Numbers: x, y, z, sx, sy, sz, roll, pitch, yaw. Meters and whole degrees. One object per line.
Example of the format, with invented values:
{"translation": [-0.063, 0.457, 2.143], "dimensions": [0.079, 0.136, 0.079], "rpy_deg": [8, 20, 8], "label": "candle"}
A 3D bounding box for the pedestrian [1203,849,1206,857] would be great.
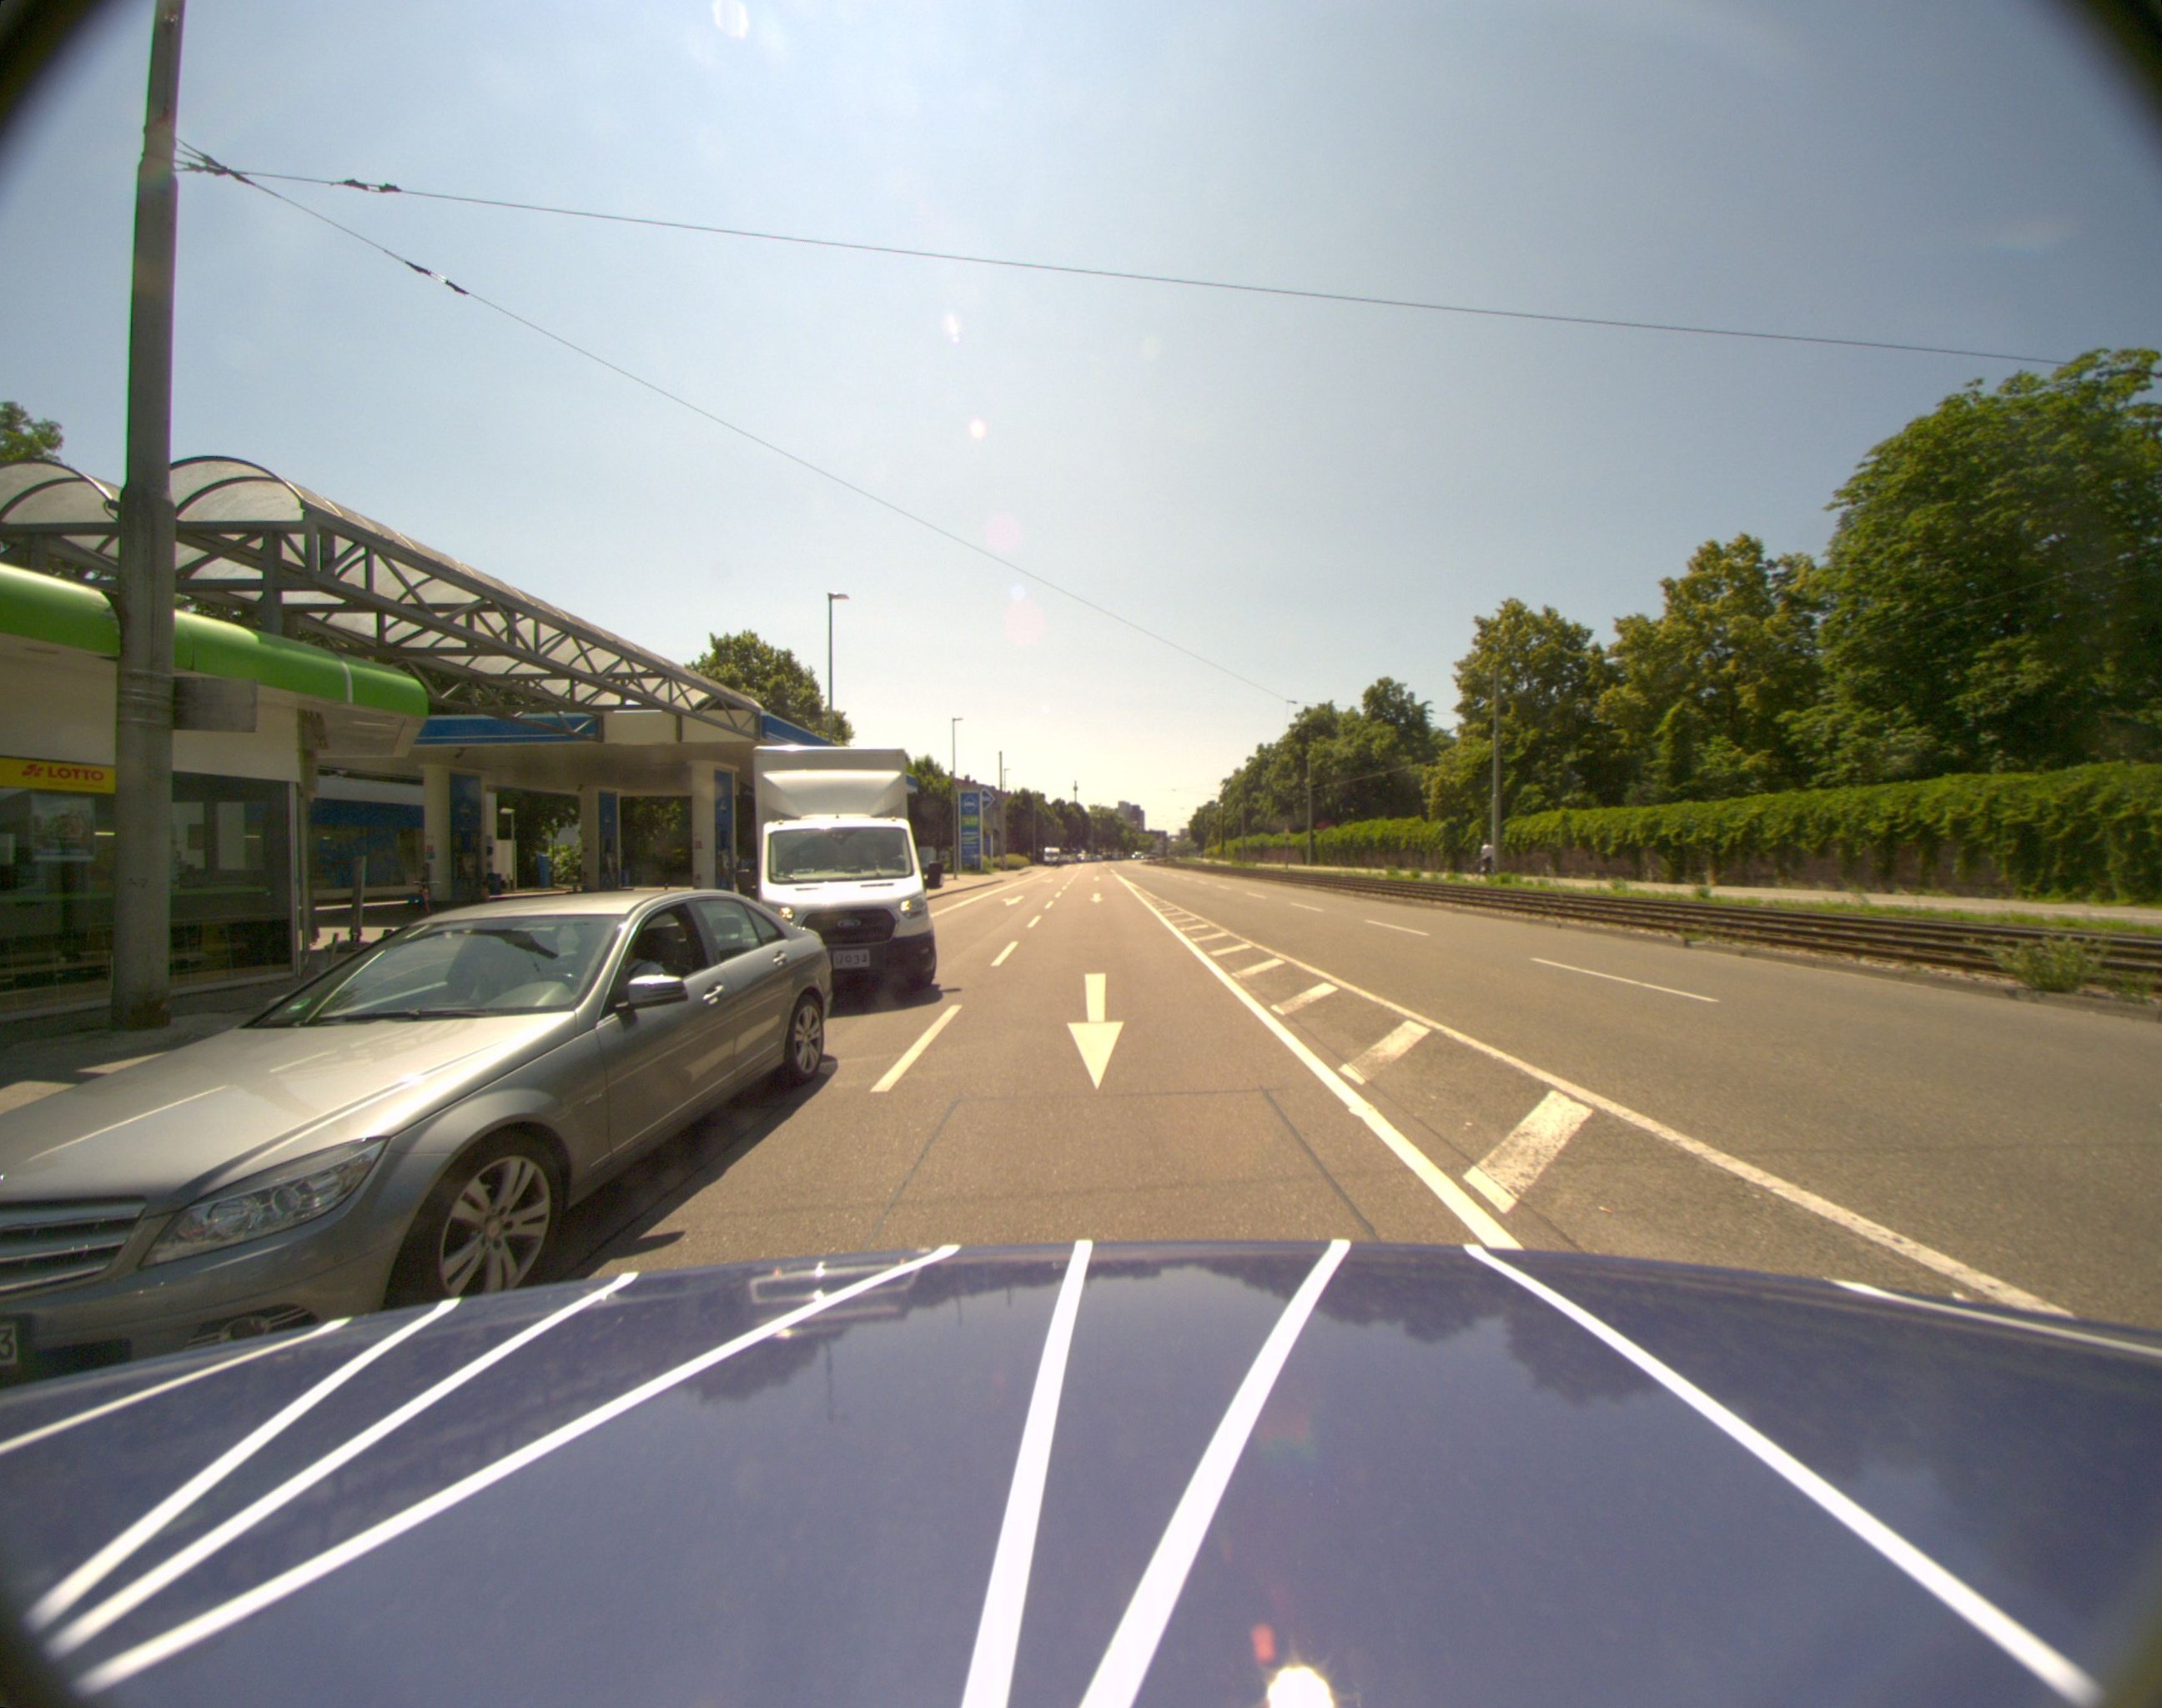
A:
{"translation": [25.435, -0.278, 156.230], "dimensions": [0.453, 1.655, 0.302], "rpy_deg": [-2, 0, 1], "label": "pedestrian"}

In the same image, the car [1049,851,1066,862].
{"translation": [-3.341, 0.299, 108.659], "dimensions": [1.912, 1.488, 4.001], "rpy_deg": [-2, 1, 4], "label": "car"}

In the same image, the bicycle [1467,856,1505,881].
{"translation": [18.284, 0.633, 34.336], "dimensions": [0.618, 1.049, 1.978], "rpy_deg": [-2, 1, 0], "label": "bicycle"}

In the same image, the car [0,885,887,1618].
{"translation": [-2.782, 1.053, 4.407], "dimensions": [1.717, 1.464, 5.302], "rpy_deg": [-3, 0, 2], "label": "car"}

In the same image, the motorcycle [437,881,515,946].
{"translation": [-11.579, 1.128, 14.550], "dimensions": [1.157, 1.203, 0.364], "rpy_deg": [1, -1, -1], "label": "motorcycle"}

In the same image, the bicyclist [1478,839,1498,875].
{"translation": [18.268, 0.122, 34.112], "dimensions": [0.483, 1.603, 0.769], "rpy_deg": [-2, 1, 1], "label": "bicyclist"}

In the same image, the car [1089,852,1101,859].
{"translation": [3.181, 0.390, 171.987], "dimensions": [1.911, 1.488, 4.002], "rpy_deg": [-2, 1, 10], "label": "car"}

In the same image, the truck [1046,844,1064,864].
{"translation": [-3.436, -0.020, 101.441], "dimensions": [1.998, 2.462, 5.237], "rpy_deg": [-2, 1, 1], "label": "truck"}

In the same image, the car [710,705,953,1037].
{"translation": [-3.922, 0.146, 12.002], "dimensions": [2.232, 3.316, 8.622], "rpy_deg": [-3, 1, -19], "label": "car"}

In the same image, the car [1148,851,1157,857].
{"translation": [19.276, 0.076, 205.064], "dimensions": [1.800, 1.488, 3.967], "rpy_deg": [-2, 0, 12], "label": "car"}

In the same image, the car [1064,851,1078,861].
{"translation": [-1.649, 0.282, 126.595], "dimensions": [1.912, 1.488, 4.001], "rpy_deg": [-2, 1, 4], "label": "car"}

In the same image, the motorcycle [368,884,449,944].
{"translation": [-12.837, 1.141, 14.509], "dimensions": [1.157, 1.107, 0.396], "rpy_deg": [1, -1, -1], "label": "motorcycle"}

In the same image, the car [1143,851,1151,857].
{"translation": [21.717, -0.049, 250.563], "dimensions": [1.945, 1.674, 4.004], "rpy_deg": [-2, 1, 15], "label": "car"}

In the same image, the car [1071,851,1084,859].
{"translation": [-0.604, 0.183, 139.357], "dimensions": [1.912, 1.488, 4.001], "rpy_deg": [-2, 1, 4], "label": "car"}

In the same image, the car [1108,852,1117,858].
{"translation": [8.381, 0.335, 203.246], "dimensions": [1.911, 1.488, 4.002], "rpy_deg": [-2, 1, 10], "label": "car"}

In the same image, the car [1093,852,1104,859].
{"translation": [4.016, 0.304, 176.871], "dimensions": [1.911, 1.488, 4.002], "rpy_deg": [-2, 1, 10], "label": "car"}
